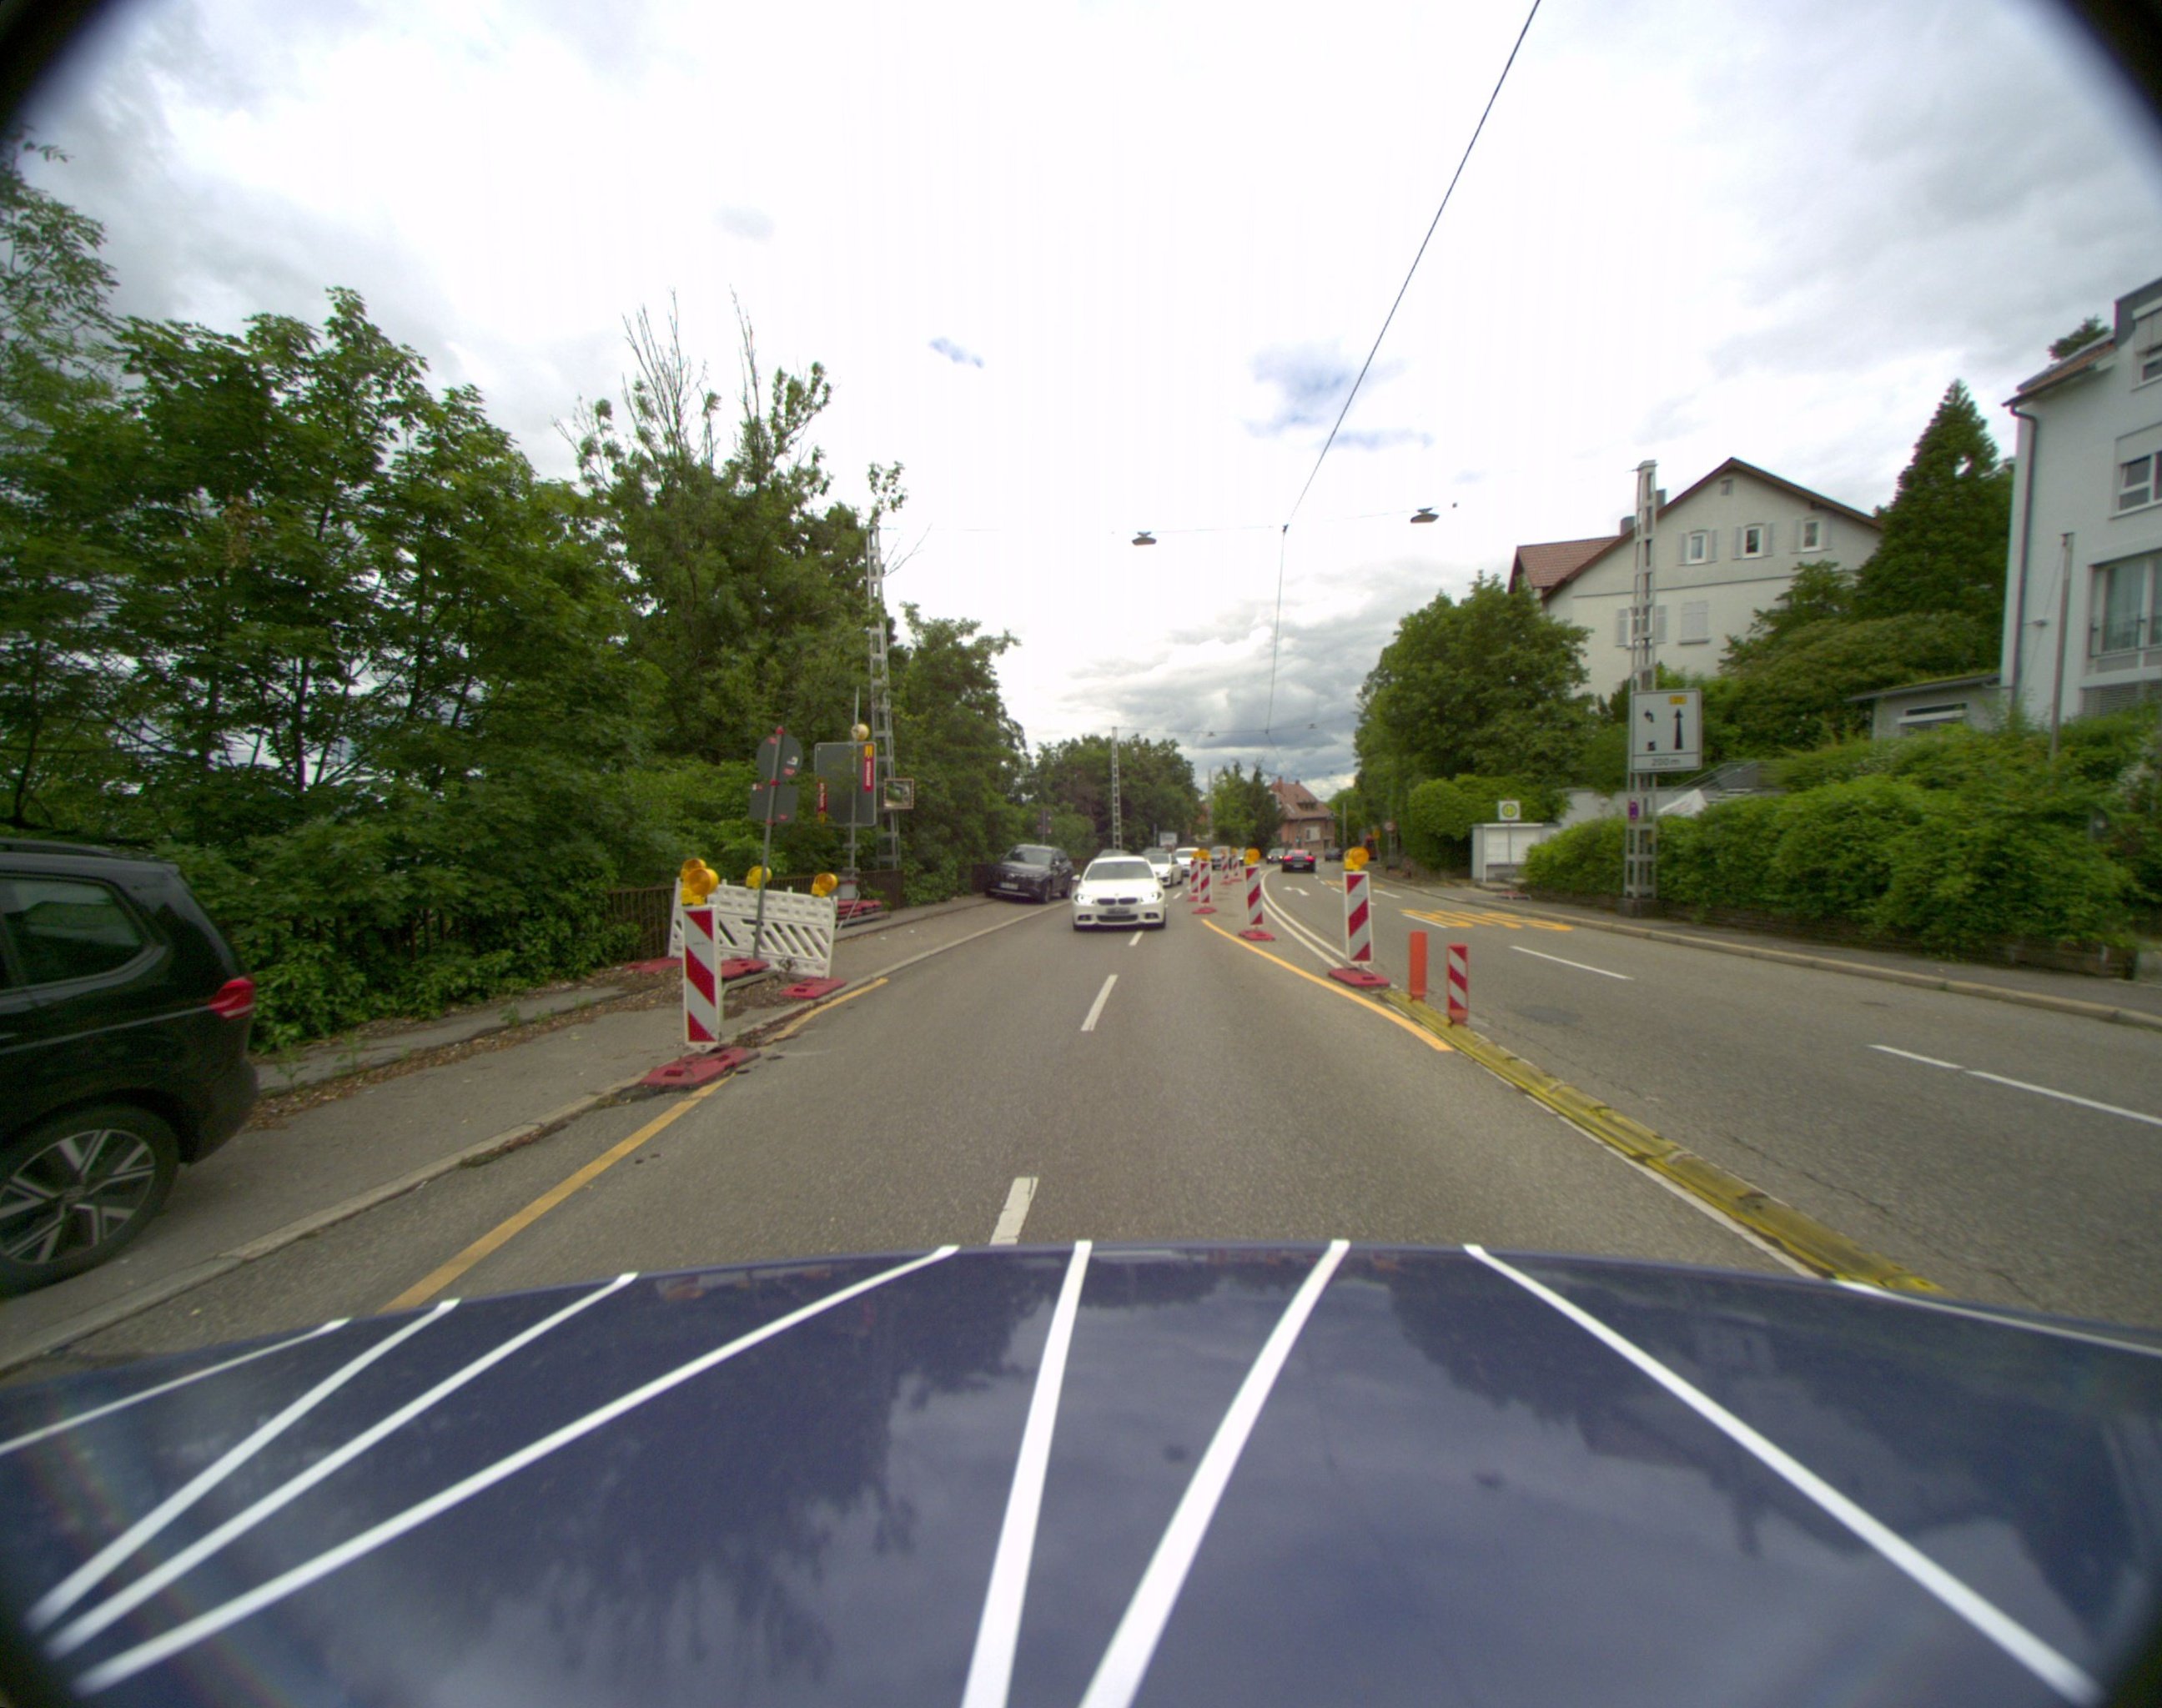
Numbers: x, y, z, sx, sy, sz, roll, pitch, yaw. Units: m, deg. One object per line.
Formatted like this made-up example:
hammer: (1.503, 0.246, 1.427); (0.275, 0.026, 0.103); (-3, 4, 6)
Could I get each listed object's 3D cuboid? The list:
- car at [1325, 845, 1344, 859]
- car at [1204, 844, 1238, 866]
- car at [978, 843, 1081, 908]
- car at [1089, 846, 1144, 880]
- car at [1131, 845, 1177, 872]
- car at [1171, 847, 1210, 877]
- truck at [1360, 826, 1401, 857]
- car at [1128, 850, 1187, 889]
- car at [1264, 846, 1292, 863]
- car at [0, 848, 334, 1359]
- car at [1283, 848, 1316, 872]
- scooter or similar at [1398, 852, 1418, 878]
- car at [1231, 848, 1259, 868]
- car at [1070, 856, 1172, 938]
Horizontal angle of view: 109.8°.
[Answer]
car: (27.685, -0.233, 82.922); (1.715, 1.453, 4.006); (1, 1, 23)
car: (9.986, 0.020, 53.998); (1.796, 1.502, 4.005); (1, 1, 19)
car: (-1.457, 0.575, 23.431); (1.856, 1.664, 4.283); (5, 2, 13)
car: (1.823, 0.408, 37.694); (1.856, 1.428, 4.236); (5, 2, 13)
car: (4.684, 0.246, 48.373); (1.855, 1.525, 4.238); (3, 2, 20)
car: (6.214, 0.427, 42.942); (1.790, 1.542, 4.248); (-1, 0, 13)
truck: (38.267, -1.528, 96.936); (2.860, 3.677, 9.677); (3, 2, 33)
car: (3.319, 0.611, 32.406); (1.790, 1.472, 4.249); (-1, 1, 15)
car: (18.250, 0.052, 70.321); (1.789, 1.472, 4.251); (-1, 0, 24)
car: (-4.641, 0.870, 1.380); (1.866, 1.664, 4.646); (3, 1, 1)
car: (13.401, 0.342, 46.685); (1.823, 1.383, 4.443); (1, 1, 16)
scooter or similar: (15.825, 0.534, 36.825); (0.429, 1.202, 1.282); (-3, 1, 4)
car: (13.419, 0.286, 62.033); (1.796, 1.502, 4.004); (-1, 1, 18)
car: (1.004, 0.824, 16.510); (1.791, 1.472, 4.247); (-1, 1, 9)
